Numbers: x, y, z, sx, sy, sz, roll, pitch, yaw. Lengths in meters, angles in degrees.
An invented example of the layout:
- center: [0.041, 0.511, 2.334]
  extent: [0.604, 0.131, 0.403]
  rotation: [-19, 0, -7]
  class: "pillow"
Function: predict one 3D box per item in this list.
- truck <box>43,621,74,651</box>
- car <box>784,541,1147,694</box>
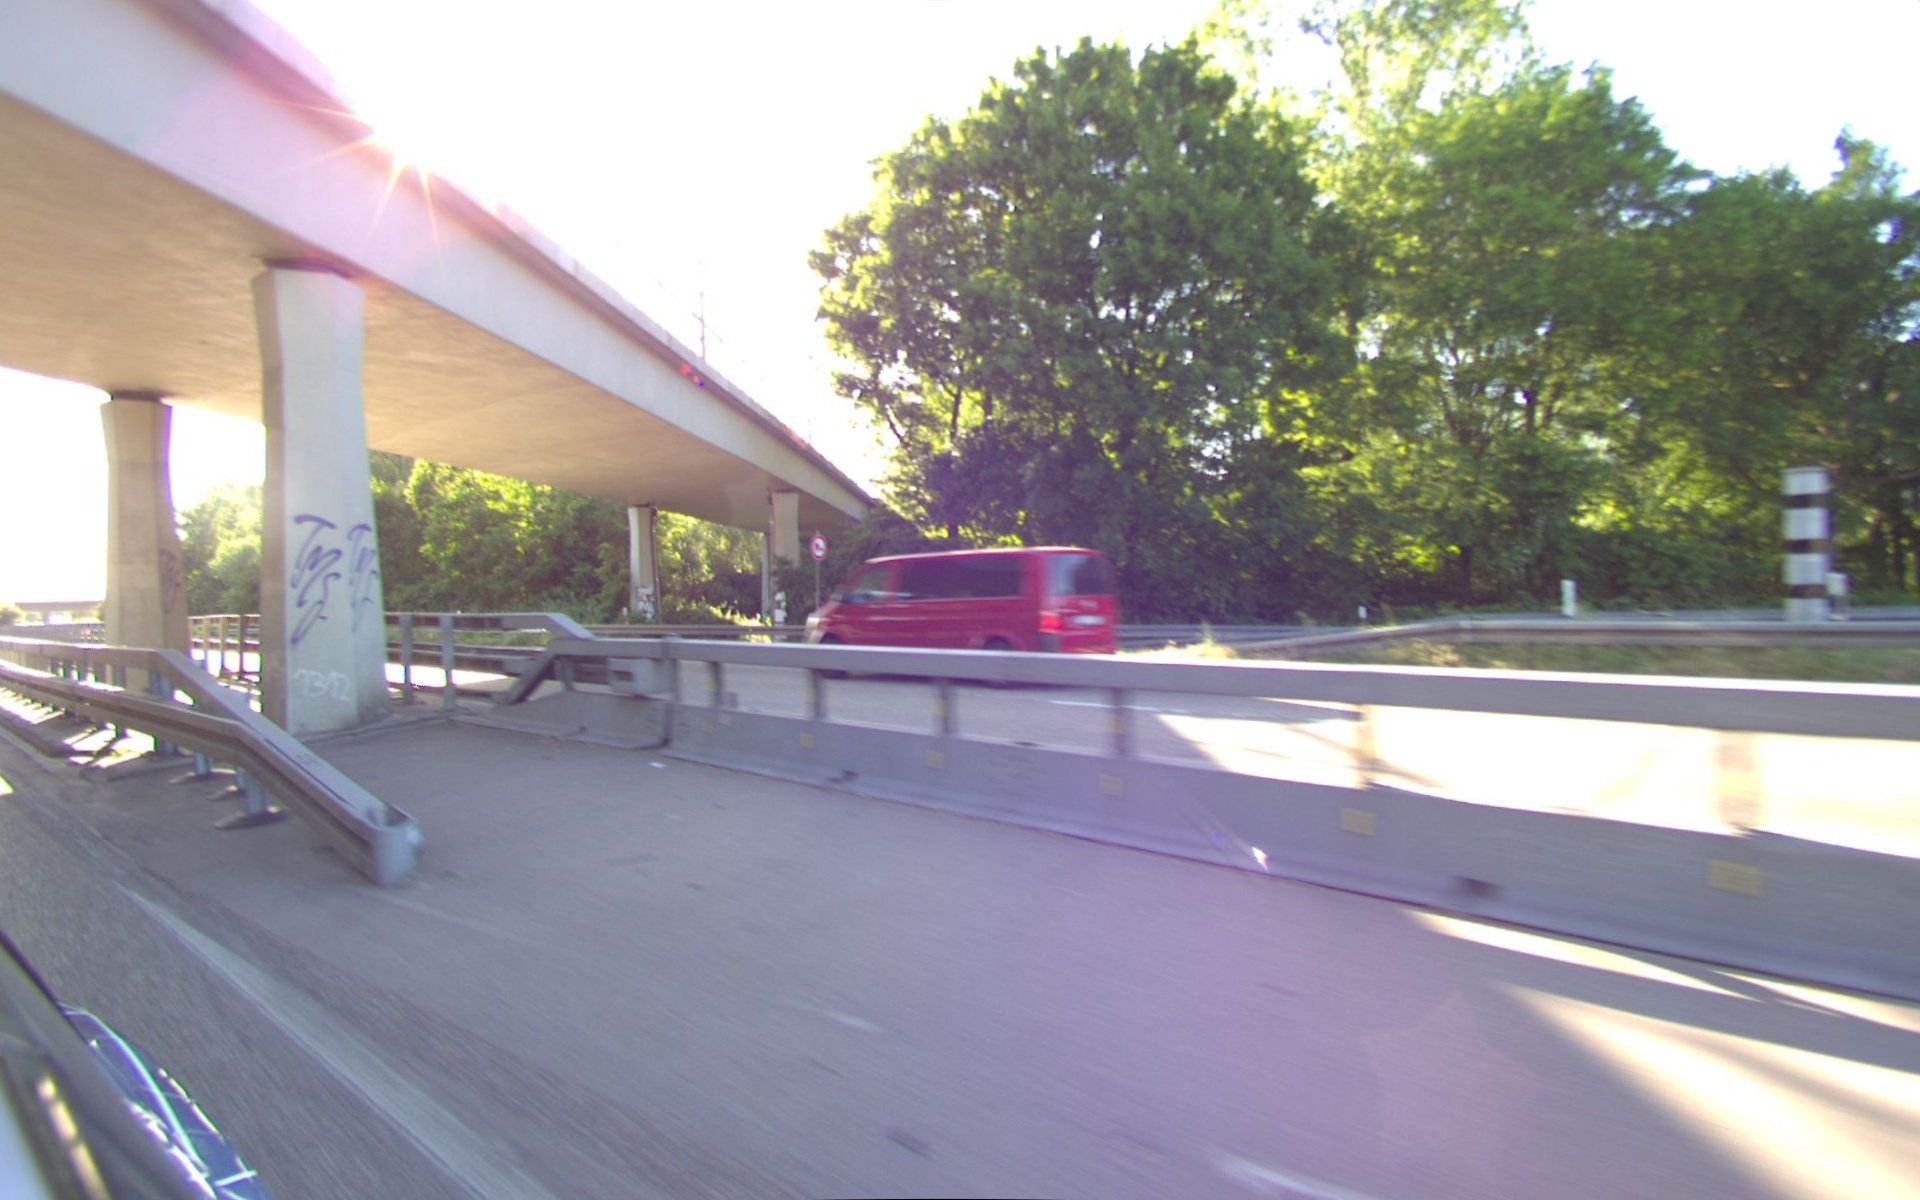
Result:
- center: [-109.929, 4.370, 123.370]
  extent: [2.390, 3.423, 9.623]
  rotation: [-1, 0, -44]
  class: "truck"
- center: [-0.103, 0.252, 15.292]
  extent: [5.517, 1.925, 1.973]
  rotation: [-1, 0, 41]
  class: "car"
